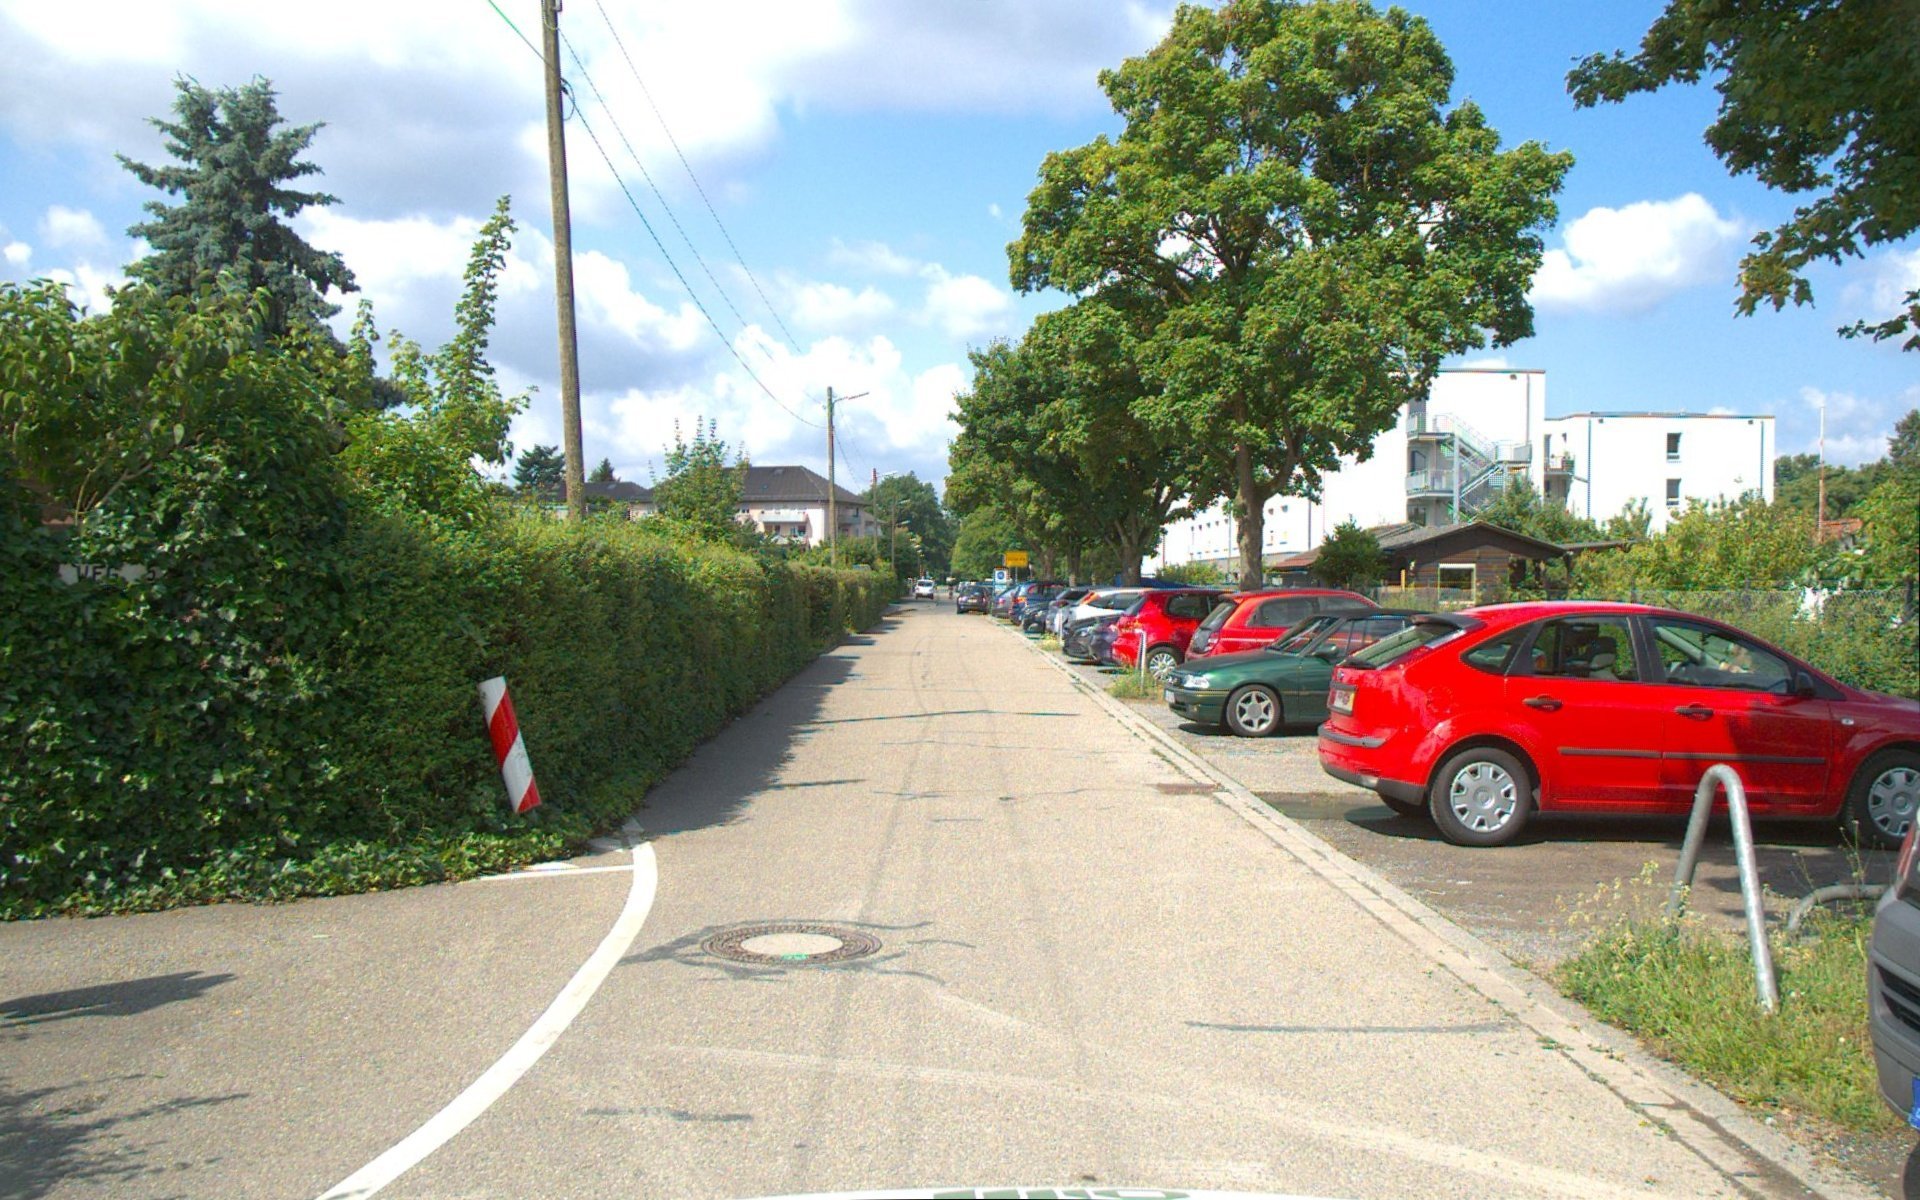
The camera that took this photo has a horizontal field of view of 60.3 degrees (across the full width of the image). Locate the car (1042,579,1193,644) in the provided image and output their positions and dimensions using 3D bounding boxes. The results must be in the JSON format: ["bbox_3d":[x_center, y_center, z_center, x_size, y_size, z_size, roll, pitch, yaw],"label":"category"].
[{"bbox_3d":[4.071,0.286,43.169,3.650,1.567,1.848,2,0,-4],"label":"car"}]

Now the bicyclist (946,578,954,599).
[{"bbox_3d":[-0.913,-1.026,145.778,0.645,1.884,1.043,-1,0,2],"label":"bicyclist"}]

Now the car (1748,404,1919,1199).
[{"bbox_3d":[4.389,0.505,3.406,4.541,1.919,2.110,-1,1,-3],"label":"car"}]

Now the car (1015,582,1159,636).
[{"bbox_3d":[3.913,0.265,51.318,4.248,1.518,1.975,2,0,-2],"label":"car"}]

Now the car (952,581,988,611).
[{"bbox_3d":[0.551,-0.207,87.753,1.628,1.532,4.002,2,0,4],"label":"car"}]

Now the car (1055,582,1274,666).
[{"bbox_3d":[3.969,0.456,32.479,3.984,1.481,1.869,2,0,-3],"label":"car"}]

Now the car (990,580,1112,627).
[{"bbox_3d":[3.449,0.130,62.915,4.457,1.606,1.808,2,0,-2],"label":"car"}]

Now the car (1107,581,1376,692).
[{"bbox_3d":[4.311,0.549,25.803,3.904,1.546,1.855,2,0,2],"label":"car"}]

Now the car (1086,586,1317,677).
[{"bbox_3d":[4.211,0.542,29.315,3.829,1.448,1.958,2,0,2],"label":"car"}]

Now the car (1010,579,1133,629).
[{"bbox_3d":[3.767,0.125,56.394,4.070,1.666,1.878,0,0,-1],"label":"car"}]

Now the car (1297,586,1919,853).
[{"bbox_3d":[4.503,0.736,11.058,4.097,1.530,1.878,2,0,0],"label":"car"}]

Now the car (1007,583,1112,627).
[{"bbox_3d":[3.622,0.169,60.577,3.732,1.559,1.762,0,0,-1],"label":"car"}]

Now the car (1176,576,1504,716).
[{"bbox_3d":[4.742,0.560,21.009,3.688,1.601,1.869,2,0,-2],"label":"car"}]

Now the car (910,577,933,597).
[{"bbox_3d":[-3.607,-1.232,156.277,1.863,1.846,4.001,2,0,2],"label":"car"}]

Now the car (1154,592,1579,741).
[{"bbox_3d":[4.395,0.702,18.279,4.155,1.453,1.906,2,0,-5],"label":"car"}]

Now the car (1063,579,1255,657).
[{"bbox_3d":[4.274,0.375,36.090,3.980,1.538,1.958,2,0,2],"label":"car"}]

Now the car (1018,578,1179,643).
[{"bbox_3d":[3.789,0.278,45.747,4.215,1.621,1.999,2,0,-2],"label":"car"}]

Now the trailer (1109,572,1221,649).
[{"bbox_3d":[4.970,0.240,40.295,2.402,1.750,1.517,2,1,-5],"label":"trailer"}]
